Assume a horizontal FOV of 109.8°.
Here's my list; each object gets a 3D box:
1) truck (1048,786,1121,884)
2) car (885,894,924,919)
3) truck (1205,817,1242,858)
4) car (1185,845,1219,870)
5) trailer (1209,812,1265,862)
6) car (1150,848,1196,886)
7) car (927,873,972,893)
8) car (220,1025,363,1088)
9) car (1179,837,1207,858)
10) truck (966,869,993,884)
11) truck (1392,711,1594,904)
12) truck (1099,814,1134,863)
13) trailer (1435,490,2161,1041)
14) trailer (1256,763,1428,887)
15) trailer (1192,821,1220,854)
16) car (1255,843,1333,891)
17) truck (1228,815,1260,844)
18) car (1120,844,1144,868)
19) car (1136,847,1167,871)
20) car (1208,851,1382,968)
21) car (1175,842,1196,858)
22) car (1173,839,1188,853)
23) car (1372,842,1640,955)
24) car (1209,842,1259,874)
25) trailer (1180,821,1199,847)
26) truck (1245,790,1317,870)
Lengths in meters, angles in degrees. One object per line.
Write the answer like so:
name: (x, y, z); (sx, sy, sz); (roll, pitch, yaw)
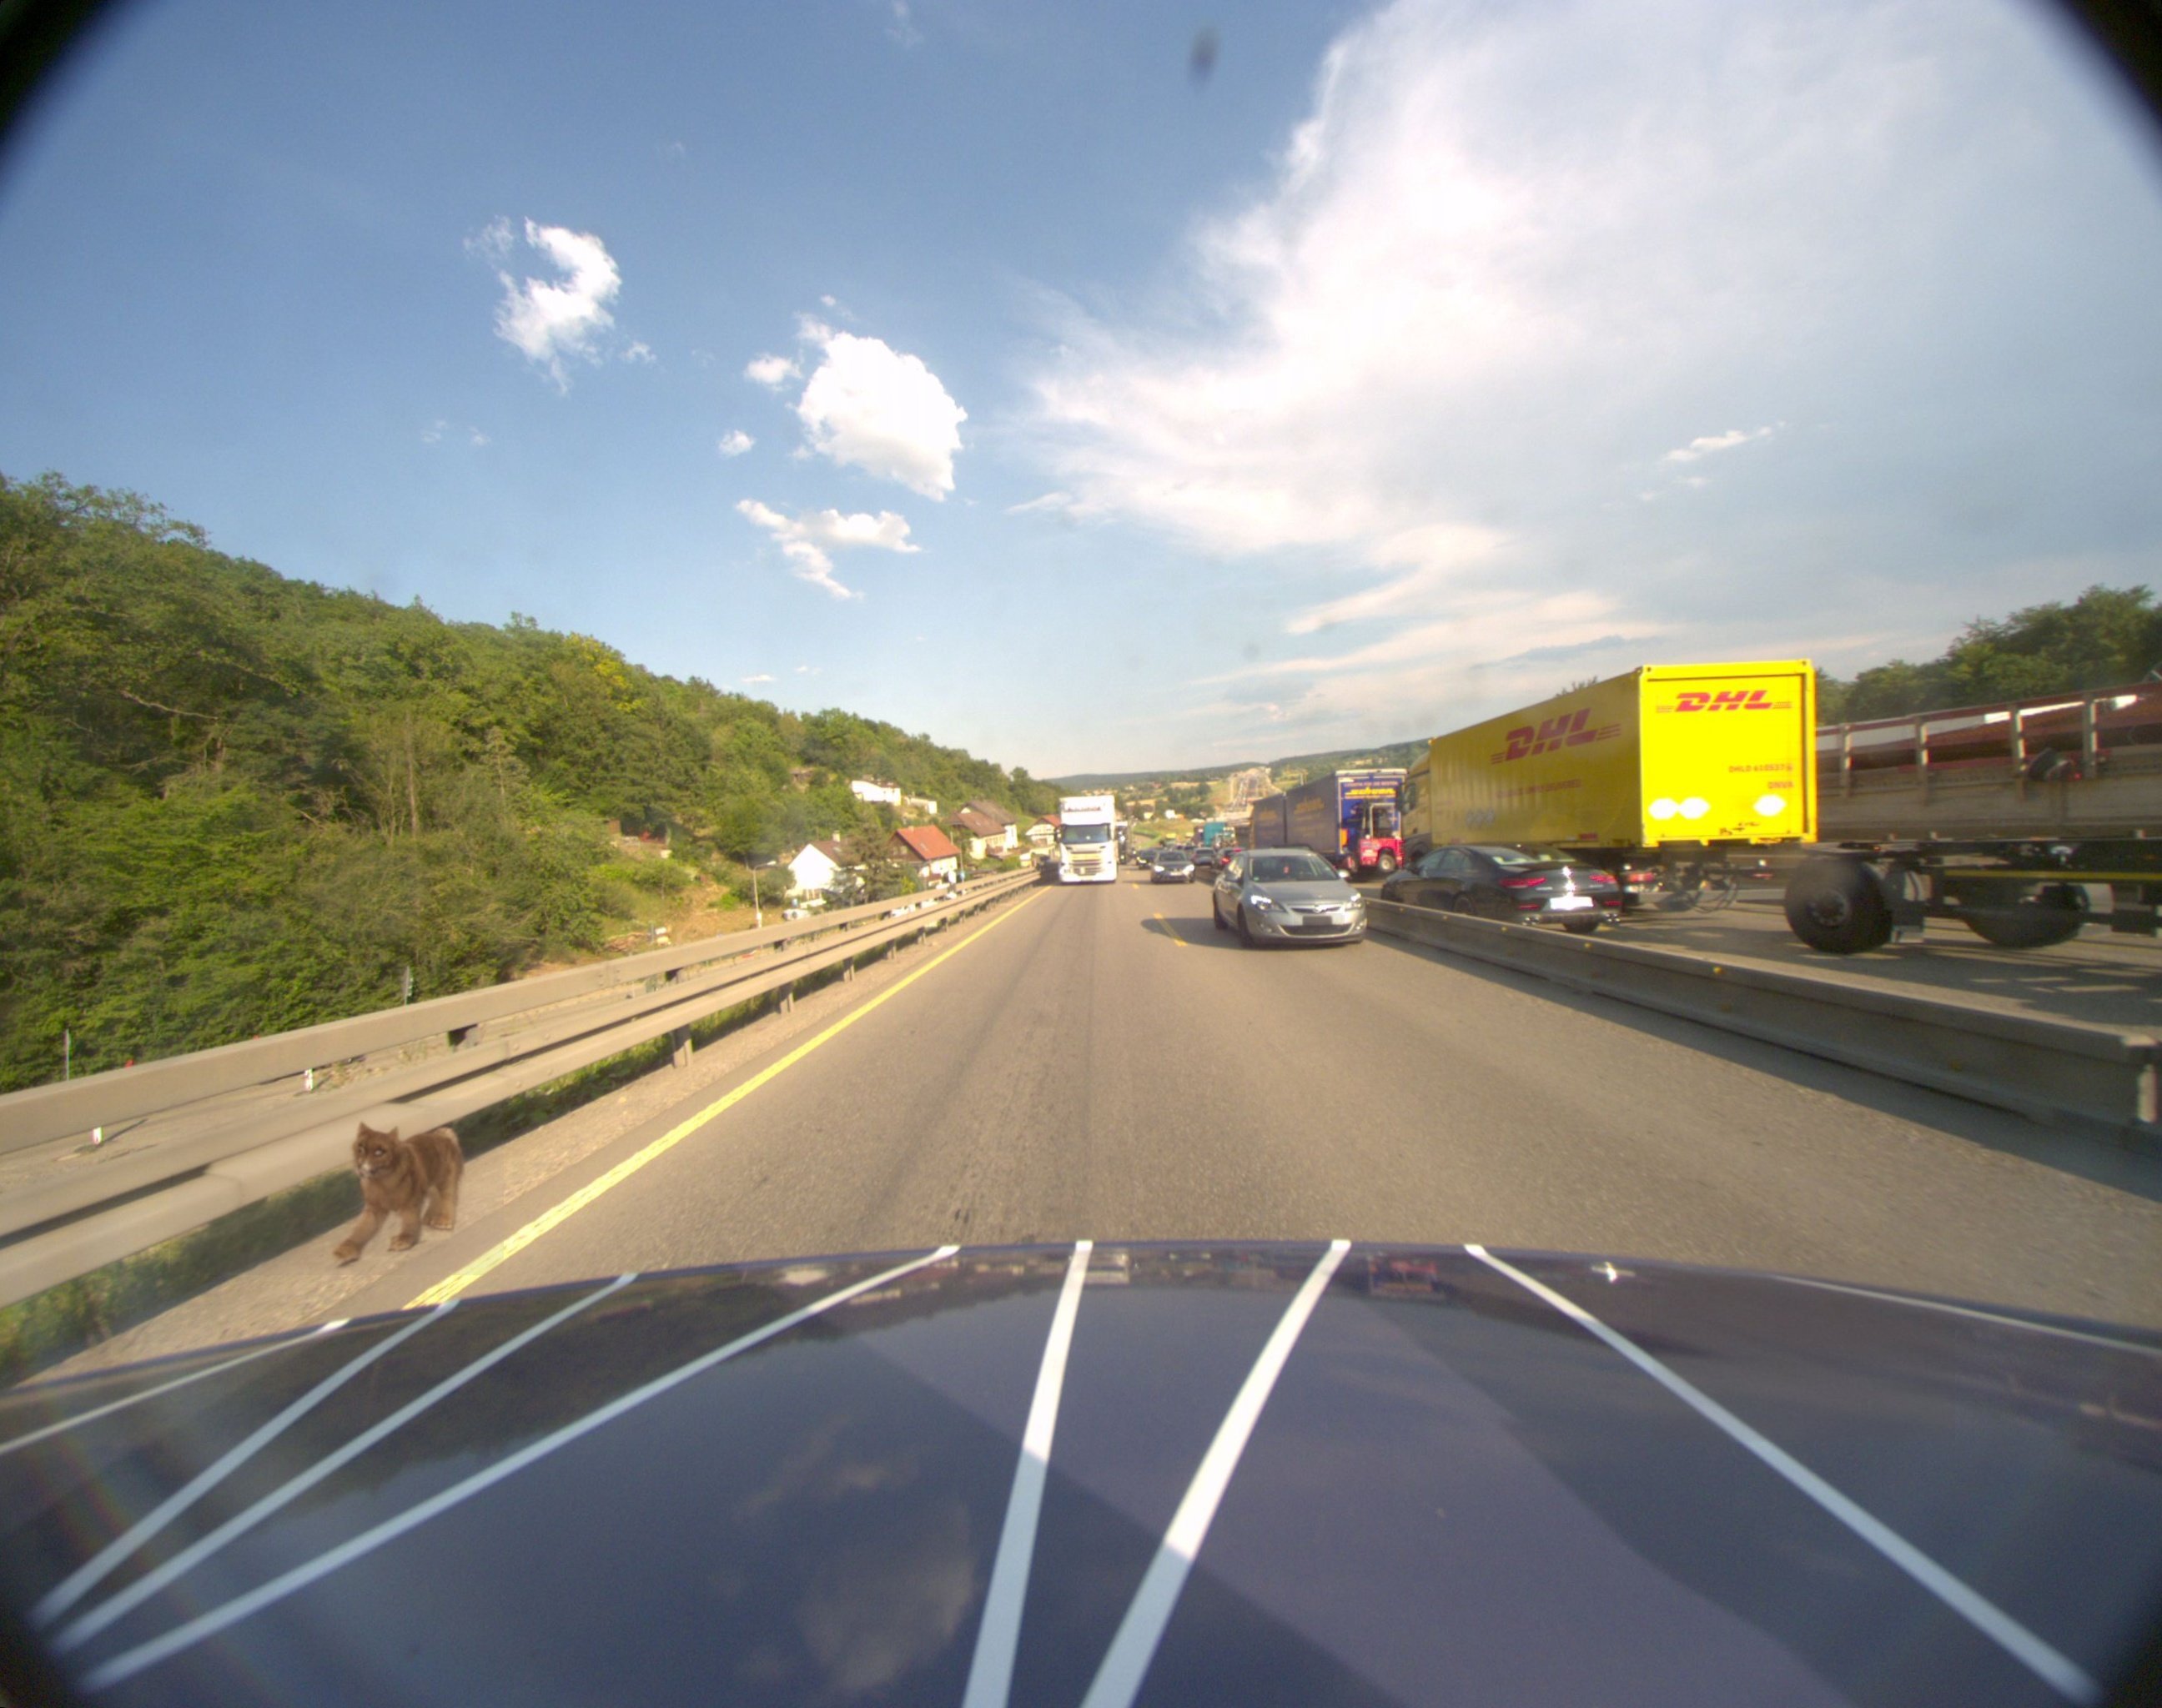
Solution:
truck: (0.505, -0.994, 39.027); (2.892, 4.060, 13.892); (-1, 2, 3)
car: (-18.445, 5.439, 79.605); (1.865, 1.975, 5.054); (-1, 4, 14)
truck: (13.767, -1.611, 73.731); (2.755, 3.784, 7.112); (-1, 1, 4)
car: (8.216, 0.206, 51.944); (1.792, 1.489, 4.724); (-1, 2, 3)
trailer: (13.137, -1.441, 65.610); (2.755, 3.794, 16.048); (-1, 1, 4)
car: (3.992, 0.517, 33.212); (1.822, 1.433, 4.001); (-3, 1, 6)
car: (-17.489, 3.853, 101.215); (5.475, 2.251, 2.001); (-3, 3, 13)
car: (-32.486, 8.277, 31.391); (1.770, 1.589, 3.622); (-5, -1, 22)
car: (9.664, -0.622, 66.020); (1.931, 1.692, 4.691); (-1, 2, 3)
truck: (-14.910, 3.283, 111.121); (2.002, 1.729, 3.990); (-11, 5, -36)
truck: (9.957, -1.074, 18.901); (2.700, 4.173, 4.397); (-1, 2, 1)
truck: (3.602, -1.466, 75.780); (2.787, 4.505, 7.192); (-4, 0, 6)
trailer: (9.712, -0.830, 10.389); (2.707, 4.180, 15.994); (-1, 2, 2)
trailer: (10.736, -1.208, 33.997); (2.721, 4.111, 16.750); (-1, 2, 3)
trailer: (16.444, -2.212, 100.709); (2.720, 4.099, 12.494); (0, 1, 5)
car: (7.530, 0.398, 27.220); (1.720, 1.499, 4.291); (-1, 2, 2)
truck: (24.116, -3.579, 113.032); (3.165, 4.099, 12.494); (0, 1, 5)
car: (4.612, 0.114, 68.708); (1.998, 2.002, 3.999); (-1, 2, 2)
car: (5.099, 0.303, 55.284); (1.998, 1.565, 3.999); (-1, 2, 2)
car: (3.242, 0.744, 12.362); (1.810, 1.478, 4.118); (-2, 1, 3)
car: (11.553, -0.444, 84.221); (1.964, 1.635, 4.848); (-1, 2, 3)
car: (14.984, -1.225, 114.586); (1.827, 1.922, 5.130); (1, 2, 5)
car: (6.516, 0.548, 12.430); (1.744, 1.394, 4.901); (-1, 2, 2)
car: (7.858, 0.180, 39.336); (1.801, 1.445, 4.615); (-1, 2, 2)
trailer: (19.018, -3.507, 133.509); (2.917, 4.440, 7.154); (-2, 1, 7)
truck: (11.181, -1.353, 42.957); (2.707, 4.117, 5.793); (-1, 2, 3)
